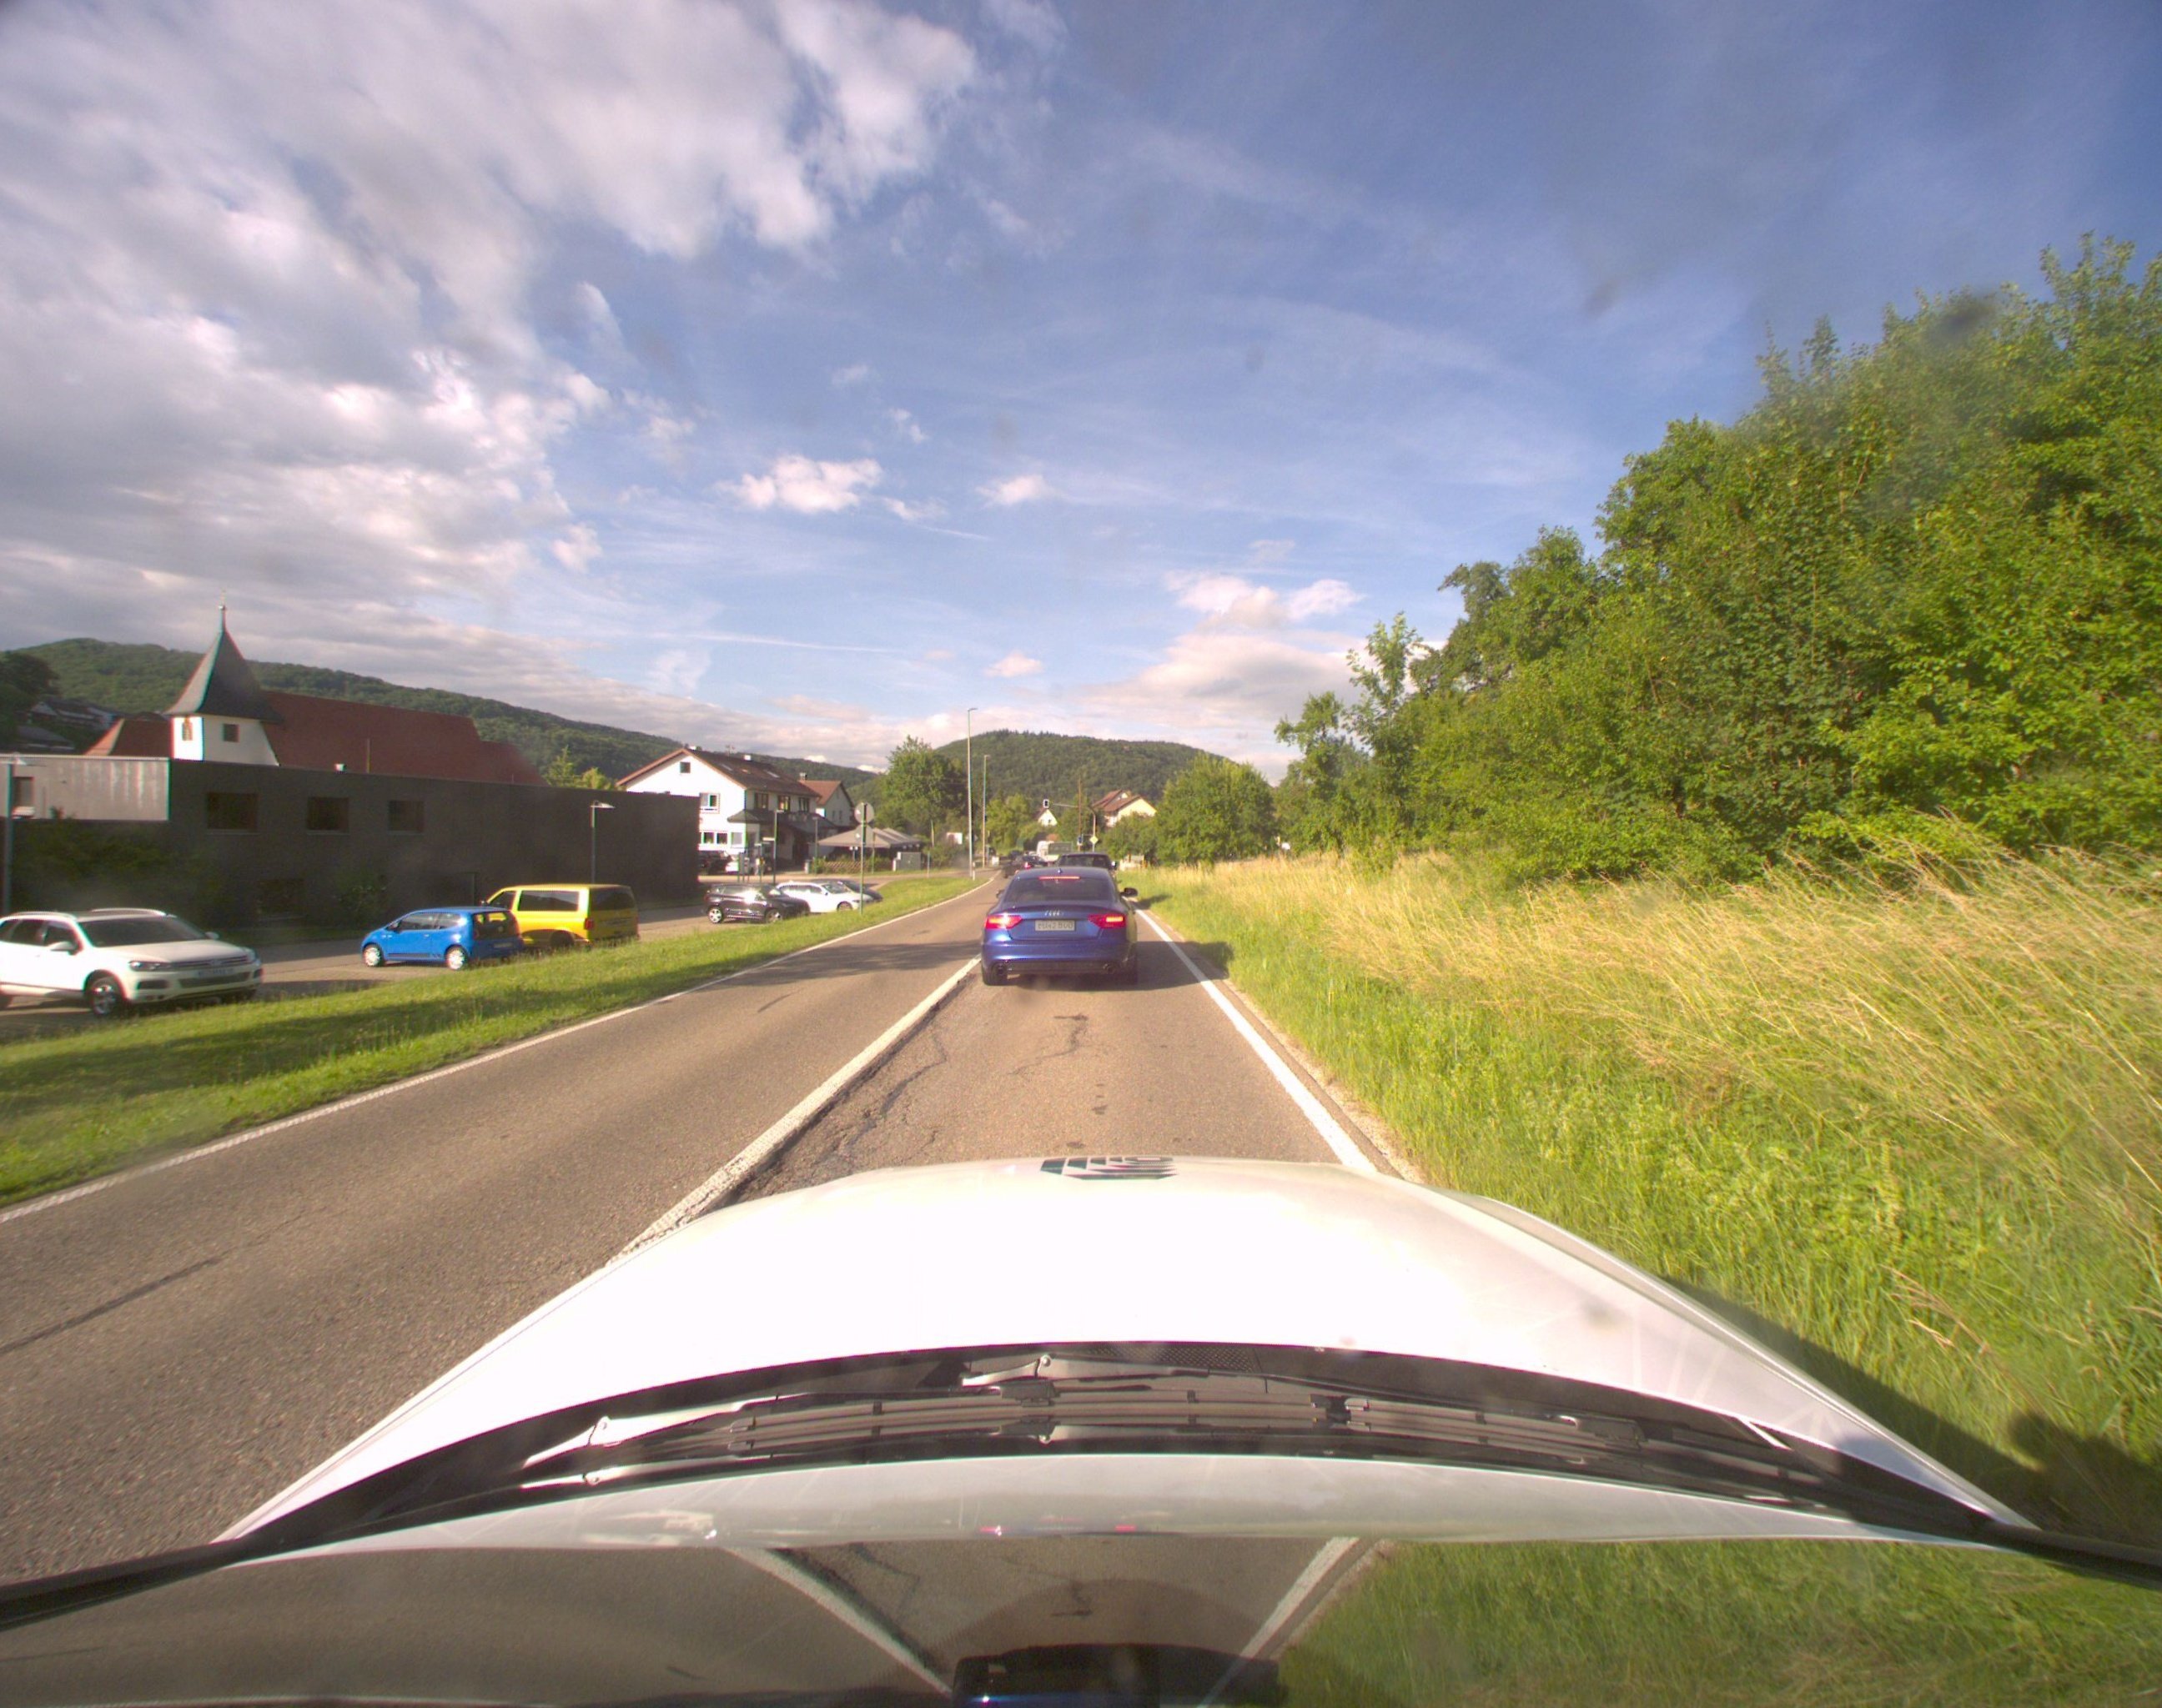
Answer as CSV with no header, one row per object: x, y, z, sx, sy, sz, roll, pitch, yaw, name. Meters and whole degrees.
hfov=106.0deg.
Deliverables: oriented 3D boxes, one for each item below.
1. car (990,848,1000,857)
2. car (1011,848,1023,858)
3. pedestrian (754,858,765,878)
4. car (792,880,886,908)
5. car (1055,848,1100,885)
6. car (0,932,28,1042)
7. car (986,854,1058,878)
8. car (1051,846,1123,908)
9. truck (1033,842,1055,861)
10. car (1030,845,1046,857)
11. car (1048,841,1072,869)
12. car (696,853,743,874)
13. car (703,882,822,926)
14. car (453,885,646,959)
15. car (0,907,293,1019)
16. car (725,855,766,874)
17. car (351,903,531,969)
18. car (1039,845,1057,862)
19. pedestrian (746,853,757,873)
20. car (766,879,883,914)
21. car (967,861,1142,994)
-16.019,-0.215,151.274,1.626,1.576,3.667,0,-1,-9,car
-9.863,-0.192,125.381,1.696,1.490,3.519,0,-1,-6,car
-24.982,1.096,63.308,0.606,1.503,0.590,0,-1,0,pedestrian
-11.792,1.937,39.816,3.964,1.310,1.765,0,-1,8,car
-0.087,0.588,38.271,1.797,1.639,4.467,0,-1,4,car
-18.023,1.947,11.536,4.508,1.555,2.007,0,-1,12,car
-3.607,0.738,49.866,3.953,1.442,1.930,0,-1,21,car
0.264,0.624,23.320,1.738,1.639,4.005,0,-1,5,car
-3.908,-0.241,85.145,1.697,1.953,5.904,0,-1,-8,truck
-5.396,-0.331,101.368,1.697,1.490,3.516,0,-1,-9,car
-1.690,0.101,64.429,1.742,2.195,3.995,0,-1,-3,car
-28.549,0.749,64.450,1.881,1.662,4.000,0,-1,0,car
-12.829,1.975,32.885,3.998,1.637,2.007,0,-1,12,car
-14.938,1.836,22.958,4.575,1.868,2.008,0,-1,15,car
-17.380,1.894,14.924,4.508,1.703,2.007,0,-1,12,car
-26.605,0.808,64.648,1.550,1.450,4.000,0,-1,0,car
-16.090,2.034,20.555,3.472,1.472,1.637,0,-1,10,car
-3.260,-0.009,79.794,1.742,1.639,3.995,0,-1,-3,car
-25.619,0.704,63.381,0.606,1.503,0.590,0,-1,0,pedestrian
-11.723,1.911,37.275,4.781,1.493,1.887,0,-1,12,car
-0.142,0.808,10.639,1.787,1.388,4.005,-1,-1,5,car
